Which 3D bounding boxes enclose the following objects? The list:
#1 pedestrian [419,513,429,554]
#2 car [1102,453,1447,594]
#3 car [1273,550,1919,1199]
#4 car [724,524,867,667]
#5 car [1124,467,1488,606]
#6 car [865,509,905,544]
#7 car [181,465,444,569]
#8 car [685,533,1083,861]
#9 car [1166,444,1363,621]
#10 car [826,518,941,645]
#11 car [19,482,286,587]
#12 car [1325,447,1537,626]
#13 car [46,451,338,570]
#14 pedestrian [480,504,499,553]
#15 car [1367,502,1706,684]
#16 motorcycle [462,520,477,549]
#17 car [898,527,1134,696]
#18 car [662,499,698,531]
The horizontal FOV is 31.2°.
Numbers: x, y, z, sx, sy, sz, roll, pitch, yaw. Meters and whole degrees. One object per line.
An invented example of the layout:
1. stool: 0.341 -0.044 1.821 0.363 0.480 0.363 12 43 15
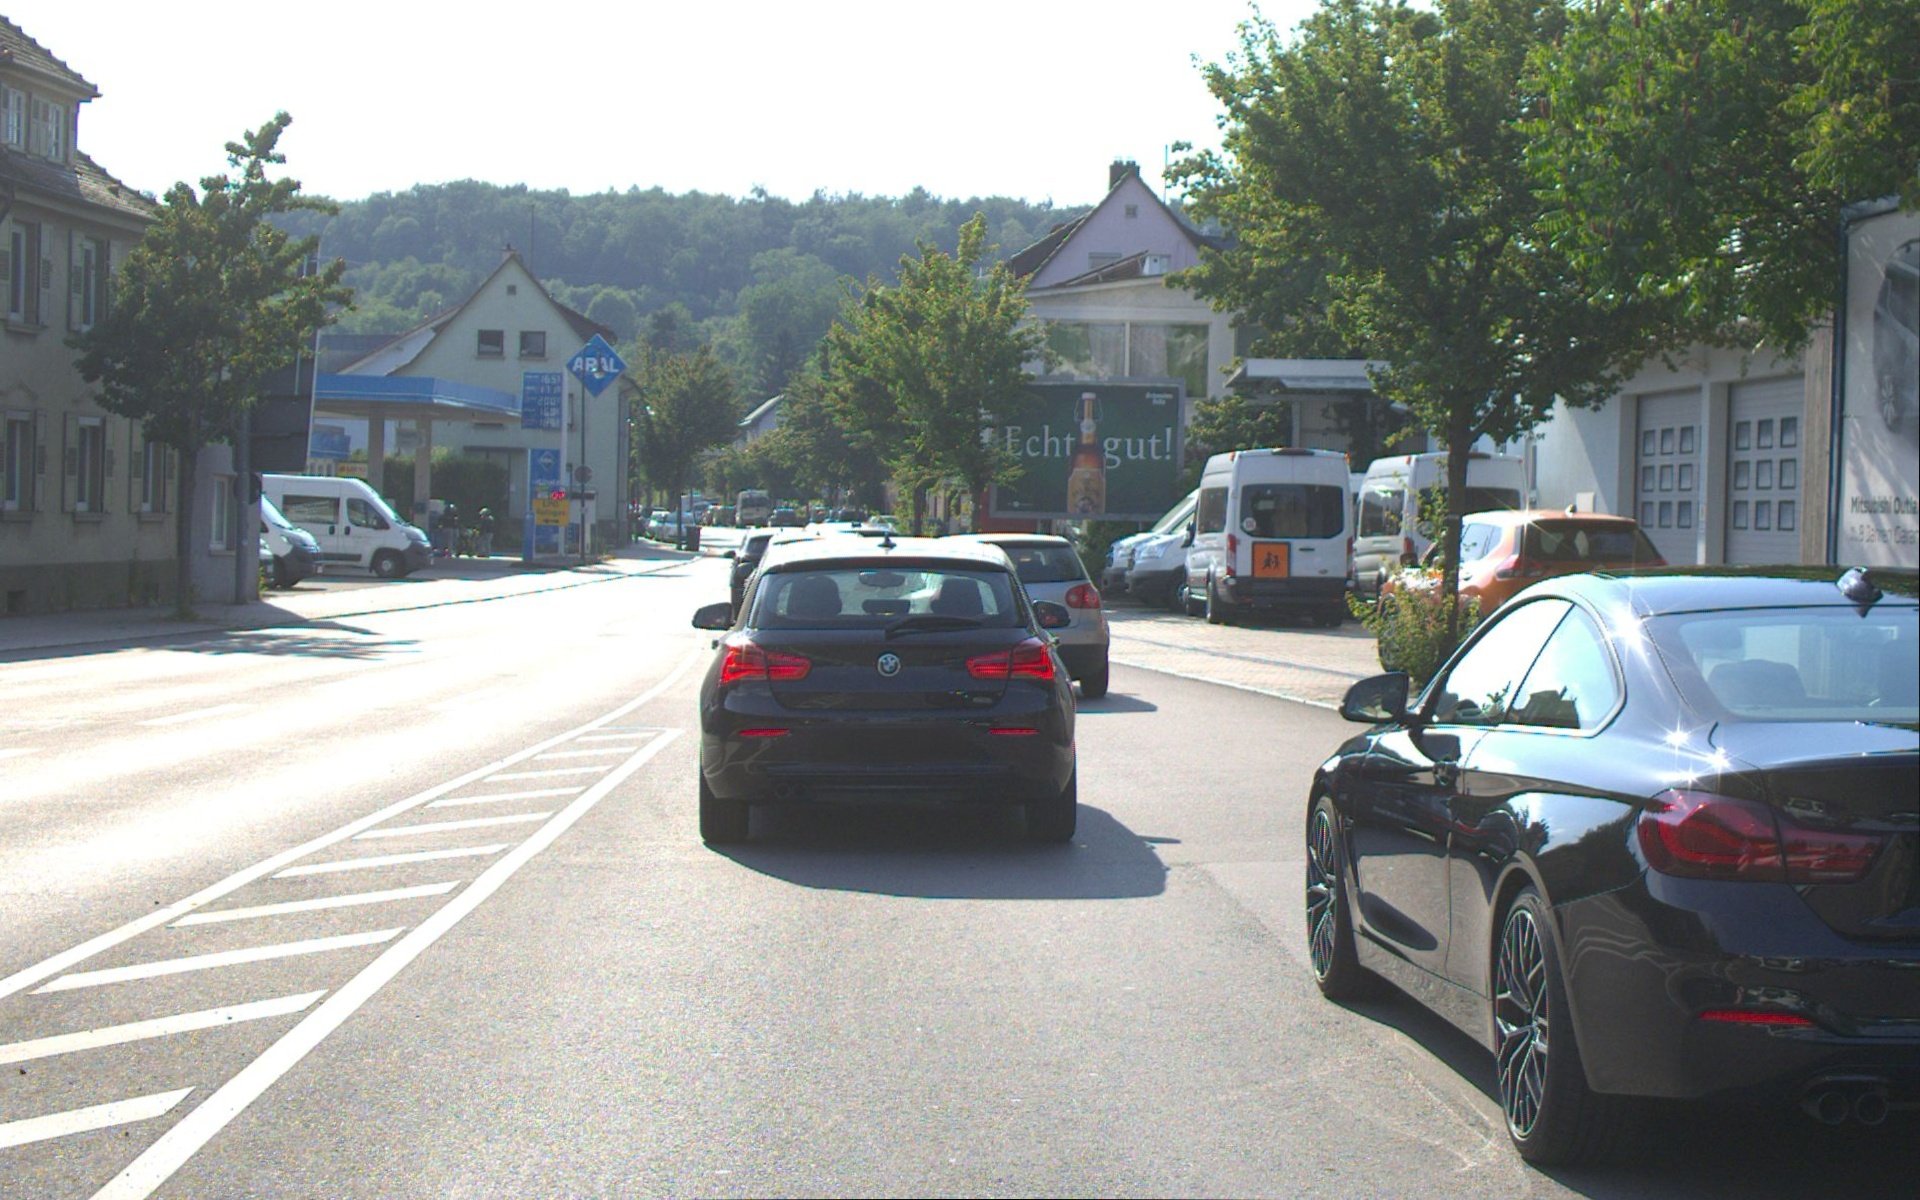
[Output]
1. pedestrian: -18.045 -2.229 115.721 0.262 1.378 0.288 0 2 -20
2. car: 5.739 -1.414 63.151 6.043 2.507 2.044 0 2 -4
3. car: 2.028 0.599 9.077 1.699 1.364 4.263 0 2 -4
4. car: -1.941 -0.097 41.424 1.591 1.594 3.894 0 2 -1
5. car: 5.997 -1.126 60.095 6.043 2.355 2.044 0 2 -4
6. car: -3.335 -3.276 152.049 1.596 1.480 3.475 1 2 -3
7. car: -16.134 -2.075 85.923 6.158 2.436 2.250 1 2 -2
8. car: -0.367 0.398 17.077 1.771 1.451 3.516 0 1 -1
9. car: 4.795 -1.130 55.210 2.149 2.671 6.605 0 2 -4
10. car: -1.096 -0.306 50.735 1.603 1.761 3.411 0 2 0
11. car: -16.457 -1.346 70.219 4.976 1.992 1.935 1 1 1
12. car: 7.510 -1.071 55.557 2.111 2.712 6.444 0 2 -4
13. car: -16.989 -1.996 76.231 5.920 2.471 2.194 1 2 2
14. pedestrian: -16.008 -2.435 116.888 0.610 1.664 0.443 0 2 -5
15. car: 5.492 -0.120 33.367 1.834 1.643 4.540 0 1 -10
16. motorcycle: -16.639 -2.226 116.531 0.363 0.940 1.696 0 2 -4
17. car: 0.455 0.067 31.448 1.753 1.409 3.423 0 2 -6
18. car: -13.356 -4.088 164.336 1.596 1.480 3.475 1 2 -3
